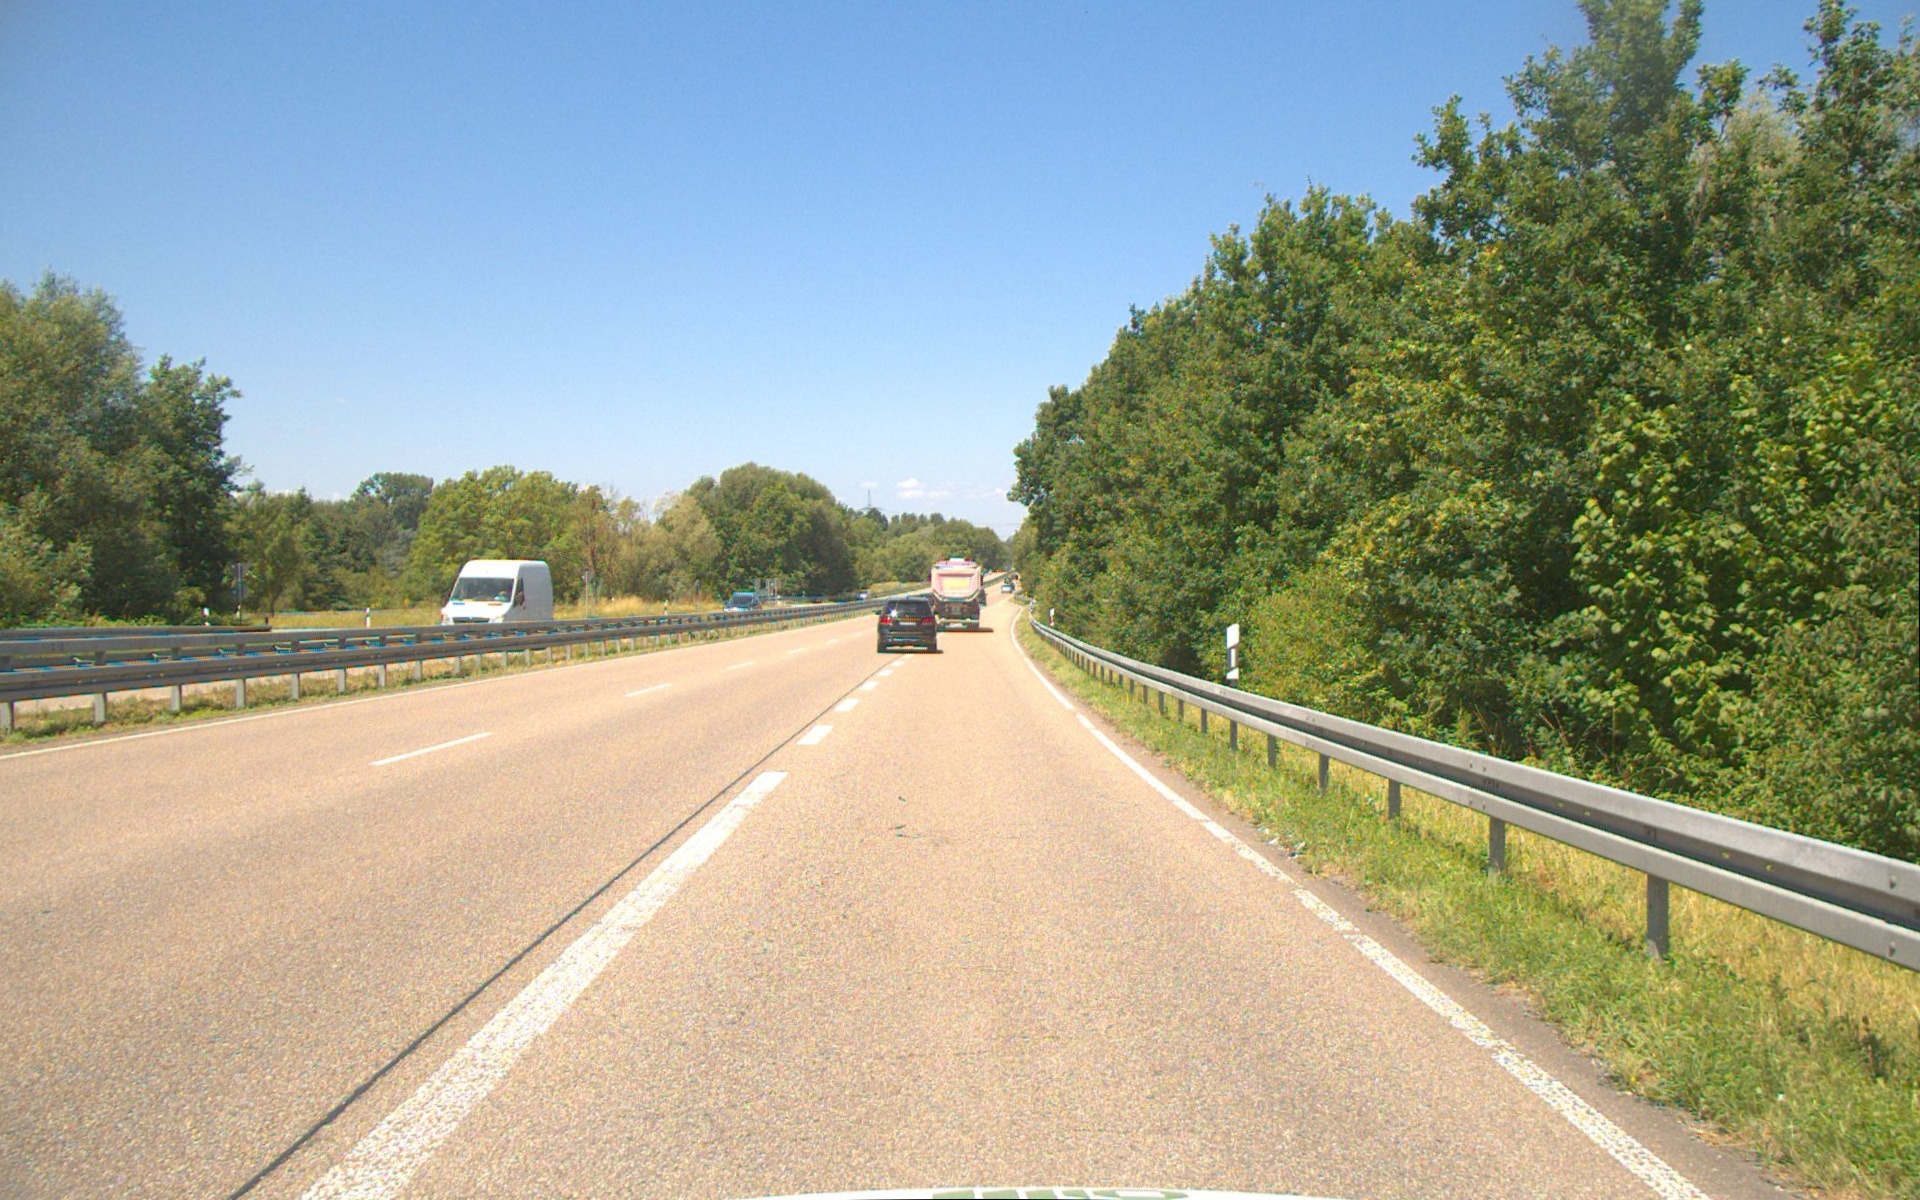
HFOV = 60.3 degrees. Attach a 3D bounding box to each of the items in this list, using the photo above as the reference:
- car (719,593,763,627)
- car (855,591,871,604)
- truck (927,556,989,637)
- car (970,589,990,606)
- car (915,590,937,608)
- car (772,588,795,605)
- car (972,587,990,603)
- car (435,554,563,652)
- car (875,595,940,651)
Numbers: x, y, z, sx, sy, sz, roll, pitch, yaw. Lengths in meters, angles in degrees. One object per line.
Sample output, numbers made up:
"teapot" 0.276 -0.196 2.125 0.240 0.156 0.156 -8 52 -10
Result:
"car" -12.565 0.563 95.092 1.824 1.862 4.660 1 0 1
"car" -12.882 -0.334 219.500 1.688 1.673 4.945 1 1 2
"truck" 0.013 -0.326 88.513 2.663 3.998 12.376 0 1 3
"car" 1.992 -0.224 165.042 1.819 1.700 4.001 1 0 3
"car" -3.286 -0.063 158.902 1.819 1.700 4.001 1 0 3
"car" -16.626 -0.304 156.217 1.880 1.515 3.998 1 0 -3
"car" 2.279 -0.488 180.614 1.819 1.700 4.001 1 0 3
"car" -13.706 0.104 49.640 2.059 2.730 6.626 1 0 -1
"car" -1.653 0.712 53.134 1.819 1.700 4.001 1 0 2
